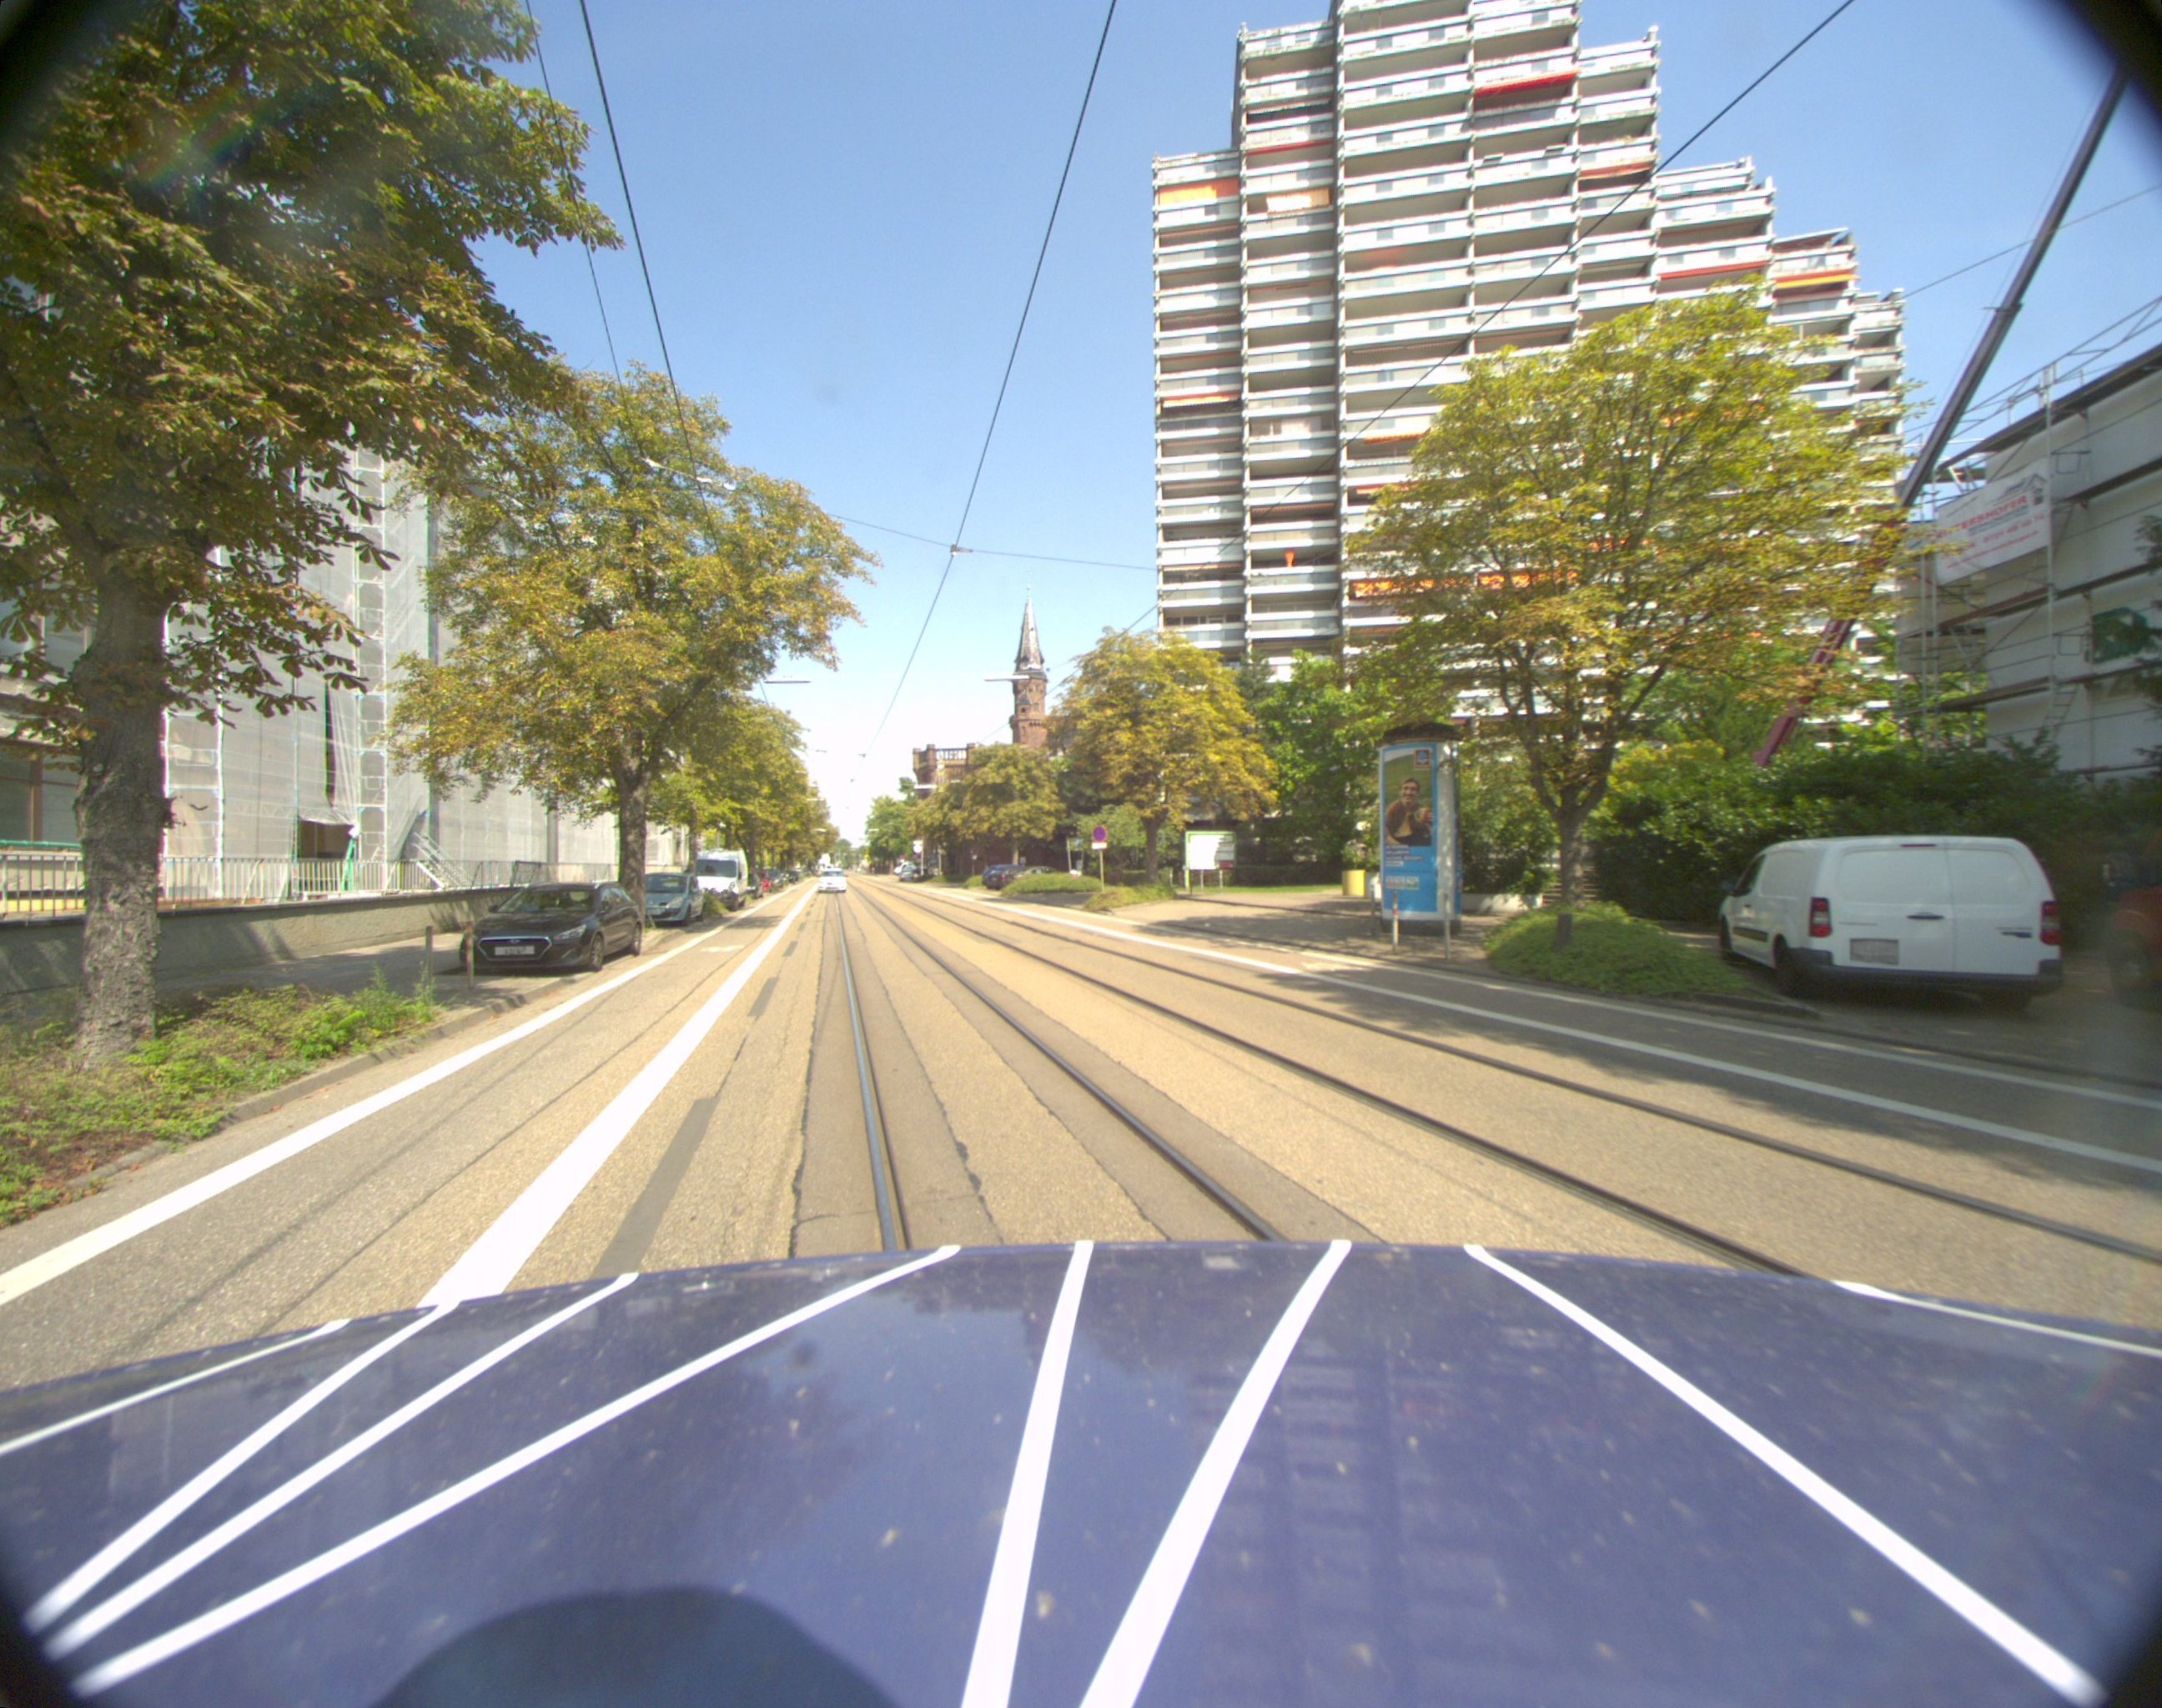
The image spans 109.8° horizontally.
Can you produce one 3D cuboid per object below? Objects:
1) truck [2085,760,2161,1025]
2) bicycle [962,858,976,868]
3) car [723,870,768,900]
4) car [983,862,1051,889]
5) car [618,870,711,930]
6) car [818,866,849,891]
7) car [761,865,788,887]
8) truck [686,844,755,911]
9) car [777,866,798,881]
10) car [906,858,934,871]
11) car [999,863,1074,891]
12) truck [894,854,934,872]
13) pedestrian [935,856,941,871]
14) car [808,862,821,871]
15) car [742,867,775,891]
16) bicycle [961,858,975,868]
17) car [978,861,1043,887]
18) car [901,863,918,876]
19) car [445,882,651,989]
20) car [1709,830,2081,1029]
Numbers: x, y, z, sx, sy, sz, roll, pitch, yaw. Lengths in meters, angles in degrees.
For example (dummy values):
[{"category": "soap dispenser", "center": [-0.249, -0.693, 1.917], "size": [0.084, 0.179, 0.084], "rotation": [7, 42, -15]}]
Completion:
[{"category": "truck", "center": [9.799, 0.363, 4.902], "size": [2.145, 2.420, 5.981], "rotation": [0, 1, 34]}, {"category": "bicycle", "center": [-13.532, 1.126, 91.793], "size": [1.450, 1.056, 0.377], "rotation": [-6, 3, -27]}, {"category": "car", "center": [-18.359, 1.644, 41.763], "size": [1.692, 1.432, 4.796], "rotation": [-1, 0, -17]}, {"category": "car", "center": [-4.025, 1.316, 48.198], "size": [4.008, 1.560, 1.775], "rotation": [-1, 0, -44]}, {"category": "car", "center": [-12.503, 1.322, 23.063], "size": [1.681, 1.570, 4.165], "rotation": [1, 0, -17]}, {"category": "car", "center": [-15.588, 1.488, 47.948], "size": [1.827, 1.483, 4.013], "rotation": [0, 0, -17]}, {"category": "car", "center": [-24.839, 1.752, 61.736], "size": [1.769, 1.678, 4.641], "rotation": [-1, 0, -19]}, {"category": "truck", "center": [-15.094, 0.910, 32.089], "size": [1.925, 2.584, 5.583], "rotation": [-1, 0, -19]}, {"category": "car", "center": [-30.863, 2.044, 79.973], "size": [1.647, 1.560, 4.078], "rotation": [1, -2, -16]}, {"category": "car", "center": [-26.938, 1.807, 127.086], "size": [4.413, 1.787, 1.997], "rotation": [-5, 1, -15]}, {"category": "car", "center": [-2.626, 1.352, 45.459], "size": [4.305, 1.488, 1.776], "rotation": [-1, 0, -44]}, {"category": "truck", "center": [-29.076, 1.535, 132.469], "size": [6.519, 2.510, 2.314], "rotation": [-5, 1, -17]}, {"category": "pedestrian", "center": [-18.221, 1.216, 96.808], "size": [0.504, 1.969, 0.520], "rotation": [-1, 1, 26]}, {"category": "car", "center": [-48.482, 2.316, 138.142], "size": [2.001, 1.521, 3.994], "rotation": [-1, 0, -17]}, {"category": "car", "center": [-21.951, 1.684, 51.895], "size": [1.692, 1.491, 4.125], "rotation": [-1, 0, -18]}, {"category": "bicycle", "center": [-13.679, 1.130, 92.074], "size": [1.450, 1.056, 0.377], "rotation": [-6, 3, -27]}, {"category": "car", "center": [-4.756, 1.327, 51.256], "size": [4.008, 1.638, 1.837], "rotation": [-1, 0, -41]}, {"category": "car", "center": [-21.400, 1.947, 94.799], "size": [1.942, 1.493, 4.508], "rotation": [-1, 0, -15]}, {"category": "car", "center": [-9.221, 1.287, 13.622], "size": [1.681, 1.449, 4.657], "rotation": [0, -1, -17]}, {"category": "car", "center": [9.114, 0.683, 9.037], "size": [1.820, 1.761, 4.294], "rotation": [0, 0, 30]}]
